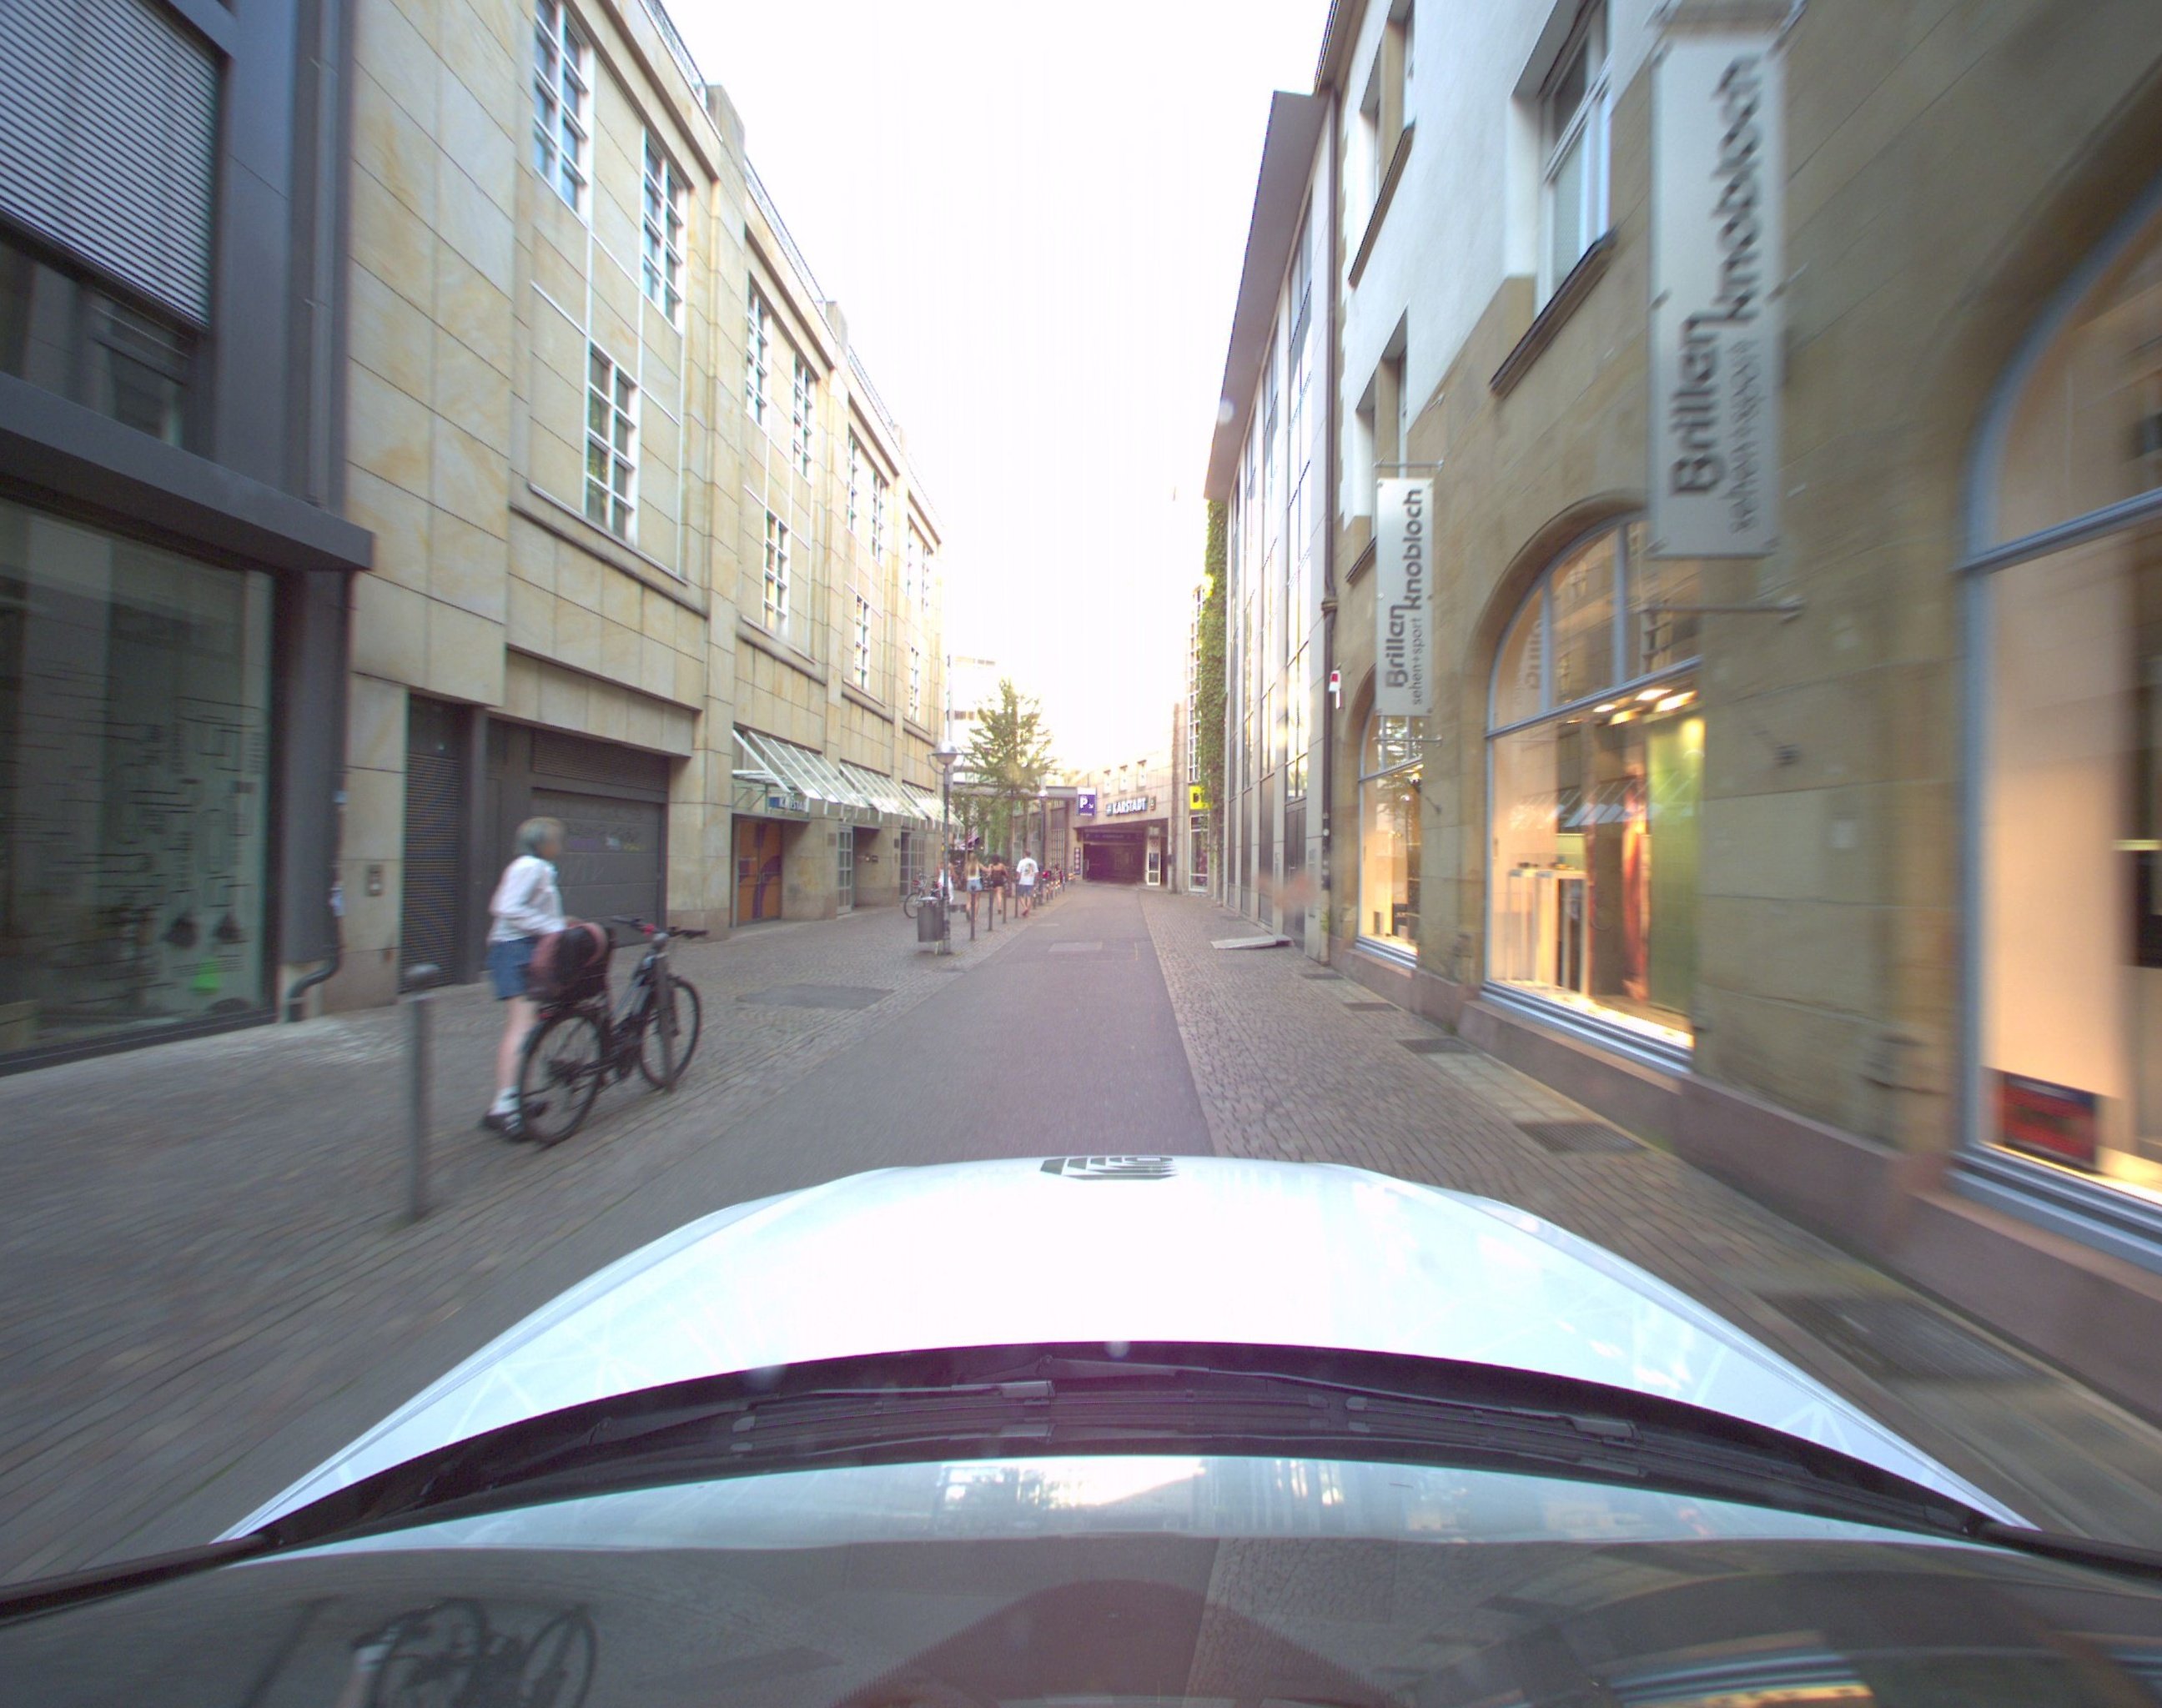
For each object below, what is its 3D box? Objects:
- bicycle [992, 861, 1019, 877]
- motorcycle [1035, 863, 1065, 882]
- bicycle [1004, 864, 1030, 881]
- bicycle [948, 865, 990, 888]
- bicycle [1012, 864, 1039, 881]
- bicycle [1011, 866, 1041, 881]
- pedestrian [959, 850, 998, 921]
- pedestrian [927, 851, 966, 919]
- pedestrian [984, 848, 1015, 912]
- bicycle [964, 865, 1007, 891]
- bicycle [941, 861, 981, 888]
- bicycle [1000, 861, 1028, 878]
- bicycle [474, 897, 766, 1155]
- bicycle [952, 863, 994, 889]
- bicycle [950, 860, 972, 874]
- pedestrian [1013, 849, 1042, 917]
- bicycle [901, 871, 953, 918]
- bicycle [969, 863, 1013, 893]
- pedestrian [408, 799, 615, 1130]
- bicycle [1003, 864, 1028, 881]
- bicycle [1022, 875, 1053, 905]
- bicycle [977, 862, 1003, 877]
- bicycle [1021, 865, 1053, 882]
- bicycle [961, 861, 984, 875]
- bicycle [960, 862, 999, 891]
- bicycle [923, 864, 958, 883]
[{"bbox_3d":[-5.296,1.047,57.071,1.778,1.114,0.539,0,0,-18],"label":"bicycle"},{"bbox_3d":[-1.758,1.061,46.658,1.667,1.050,0.461,0,0,-18],"label":"motorcycle"},{"bbox_3d":[-3.994,1.144,51.142,1.543,1.049,0.572,0,0,-18],"label":"bicycle"},{"bbox_3d":[-5.251,1.059,38.260,1.900,1.052,0.530,0,0,-20],"label":"bicycle"},{"bbox_3d":[-3.409,1.118,50.144,1.543,1.049,0.572,0,0,-18],"label":"bicycle"},{"bbox_3d":[-3.307,1.176,49.189,1.778,0.904,0.461,0,0,-18],"label":"bicycle"},{"bbox_3d":[-2.548,0.778,20.375,0.803,1.729,0.949,1,0,1],"label":"pedestrian"},{"bbox_3d":[-3.388,0.775,20.526,0.670,1.664,0.863,1,0,12],"label":"pedestrian"},{"bbox_3d":[-2.366,0.740,23.632,0.786,1.795,0.967,0,0,-14],"label":"pedestrian"},{"bbox_3d":[-4.314,1.078,36.743,1.842,1.122,0.530,0,0,-20],"label":"bicycle"},{"bbox_3d":[-5.737,0.977,38.952,1.839,1.225,0.530,0,0,-20],"label":"bicycle"},{"bbox_3d":[-4.494,1.065,54.808,1.778,1.114,0.539,0,0,-18],"label":"bicycle"},{"bbox_3d":[-2.647,0.896,4.976,0.530,1.153,1.917,2,0,4],"label":"bicycle"},{"bbox_3d":[-4.997,1.024,37.721,1.878,1.177,0.530,0,0,-20],"label":"bicycle"},{"bbox_3d":[-10.366,1.082,70.481,1.778,1.190,0.583,0,0,-18],"label":"bicycle"},{"bbox_3d":[-1.471,0.780,22.395,0.742,1.822,0.876,0,0,-8],"label":"pedestrian"},{"bbox_3d":[-3.999,1.023,21.285,0.517,1.138,1.773,0,0,19],"label":"bicycle"},{"bbox_3d":[-3.816,1.025,34.554,1.772,1.231,0.530,0,0,-20],"label":"bicycle"},{"bbox_3d":[-3.189,0.584,4.635,0.770,1.718,0.588,2,0,-19],"label":"pedestrian"},{"bbox_3d":[-4.236,1.174,52.548,1.543,1.049,0.572,0,0,-18],"label":"bicycle"},{"bbox_3d":[-1.470,1.228,28.020,0.489,0.939,1.666,2,0,18],"label":"bicycle"},{"bbox_3d":[-6.633,1.128,59.374,1.778,1.114,0.539,0,0,-18],"label":"bicycle"},{"bbox_3d":[-2.606,1.155,48.293,1.853,0.982,0.461,0,0,-18],"label":"bicycle"},{"bbox_3d":[-8.727,1.111,65.227,1.776,1.114,0.540,0,0,-16],"label":"bicycle"},{"bbox_3d":[-4.470,0.991,35.856,1.659,1.231,0.530,0,0,-20],"label":"bicycle"},{"bbox_3d":[-7.675,1.068,44.566,1.831,1.043,0.530,0,0,-20],"label":"bicycle"}]
